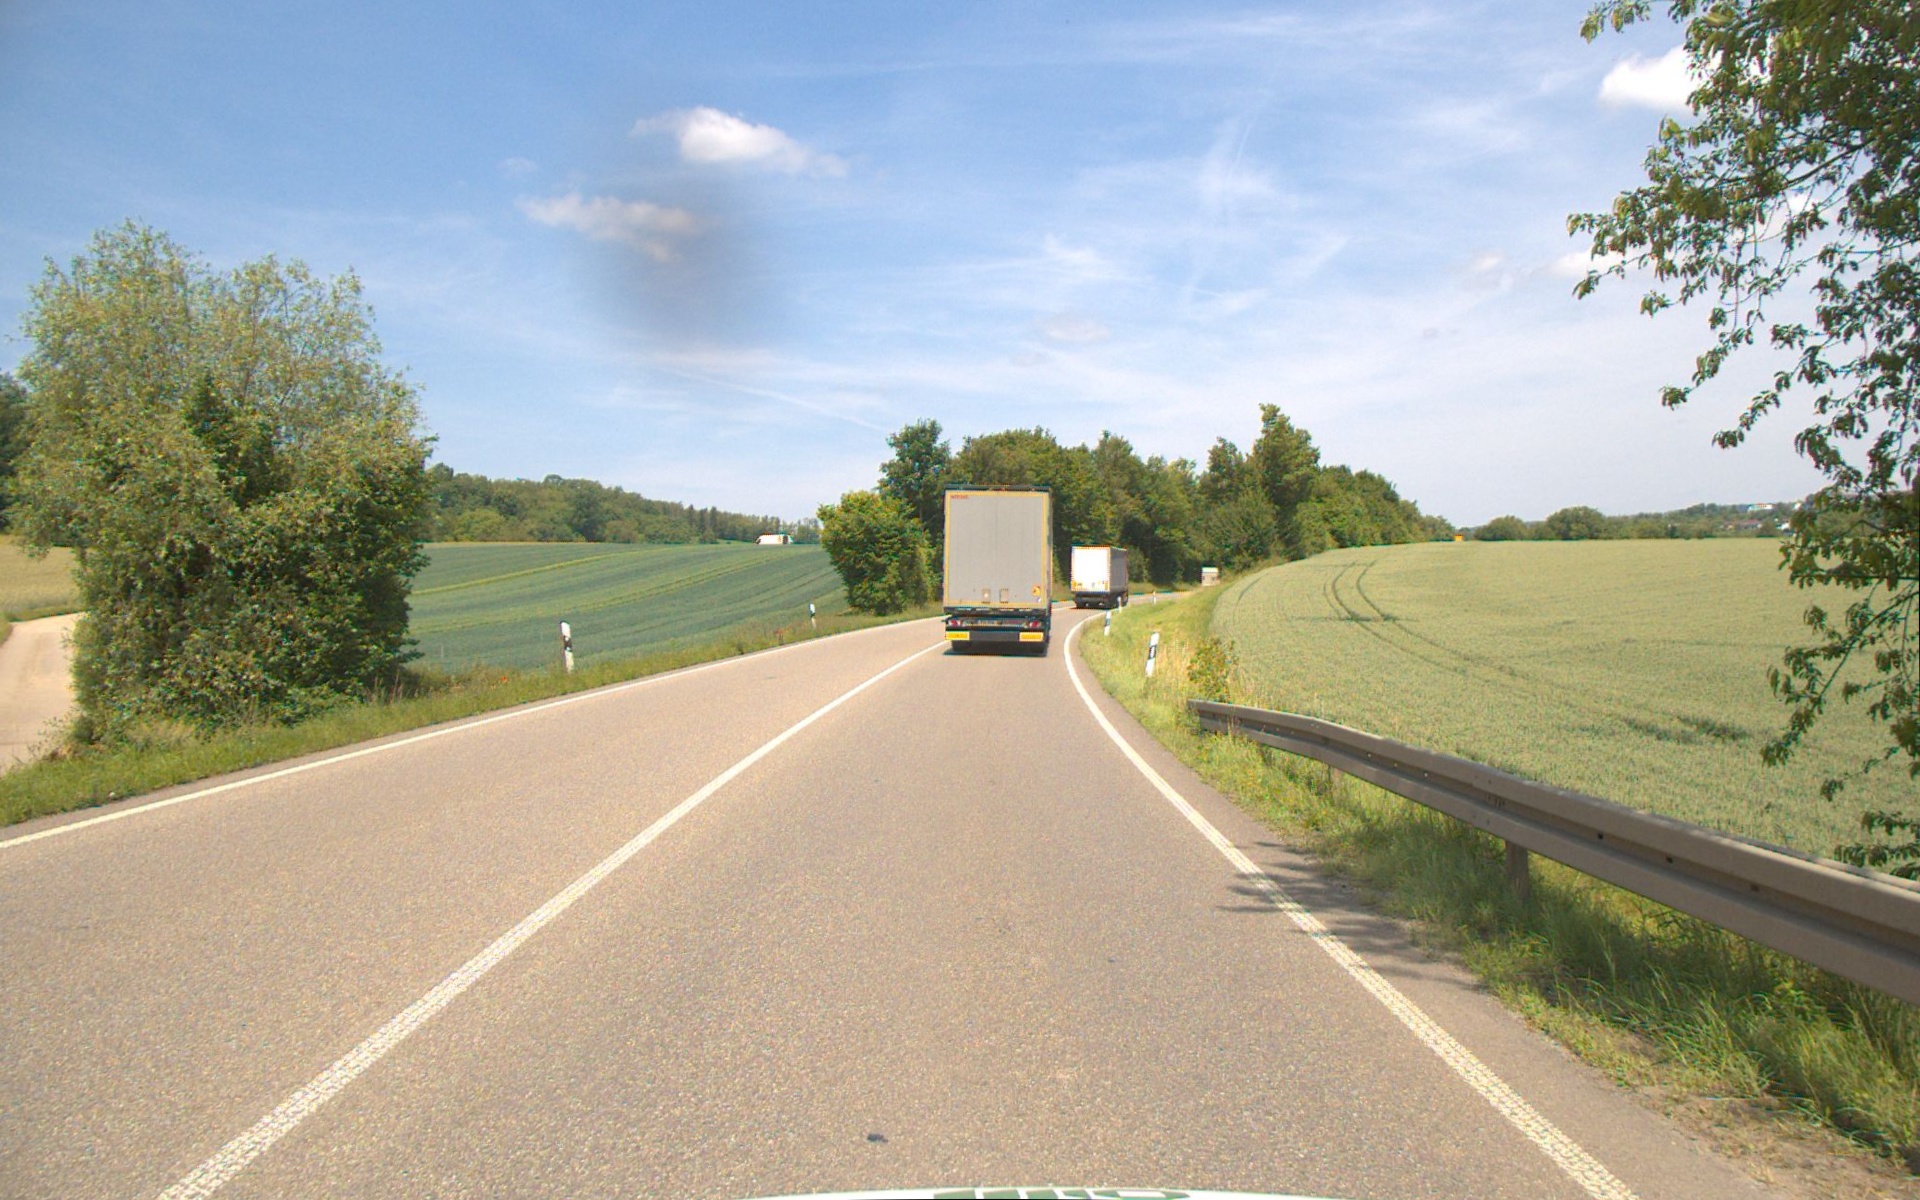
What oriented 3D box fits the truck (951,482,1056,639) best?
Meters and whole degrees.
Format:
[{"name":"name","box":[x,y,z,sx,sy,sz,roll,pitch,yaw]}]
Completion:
[{"name":"truck","box":[1.457,-1.180,51.705,3.053,4.573,6.814,0,0,3]}]

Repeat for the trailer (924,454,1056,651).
[{"name":"trailer","box":[1.079,-1.139,45.573,3.053,4.578,13.892,0,0,3]}]

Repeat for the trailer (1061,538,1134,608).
[{"name":"trailer","box":[9.459,-1.957,112.122,3.293,4.391,13.879,0,2,11]}]

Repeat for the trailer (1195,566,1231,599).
[{"name":"trailer","box":[30.203,-2.025,197.051,2.763,3.367,11.523,-1,-2,16]}]
